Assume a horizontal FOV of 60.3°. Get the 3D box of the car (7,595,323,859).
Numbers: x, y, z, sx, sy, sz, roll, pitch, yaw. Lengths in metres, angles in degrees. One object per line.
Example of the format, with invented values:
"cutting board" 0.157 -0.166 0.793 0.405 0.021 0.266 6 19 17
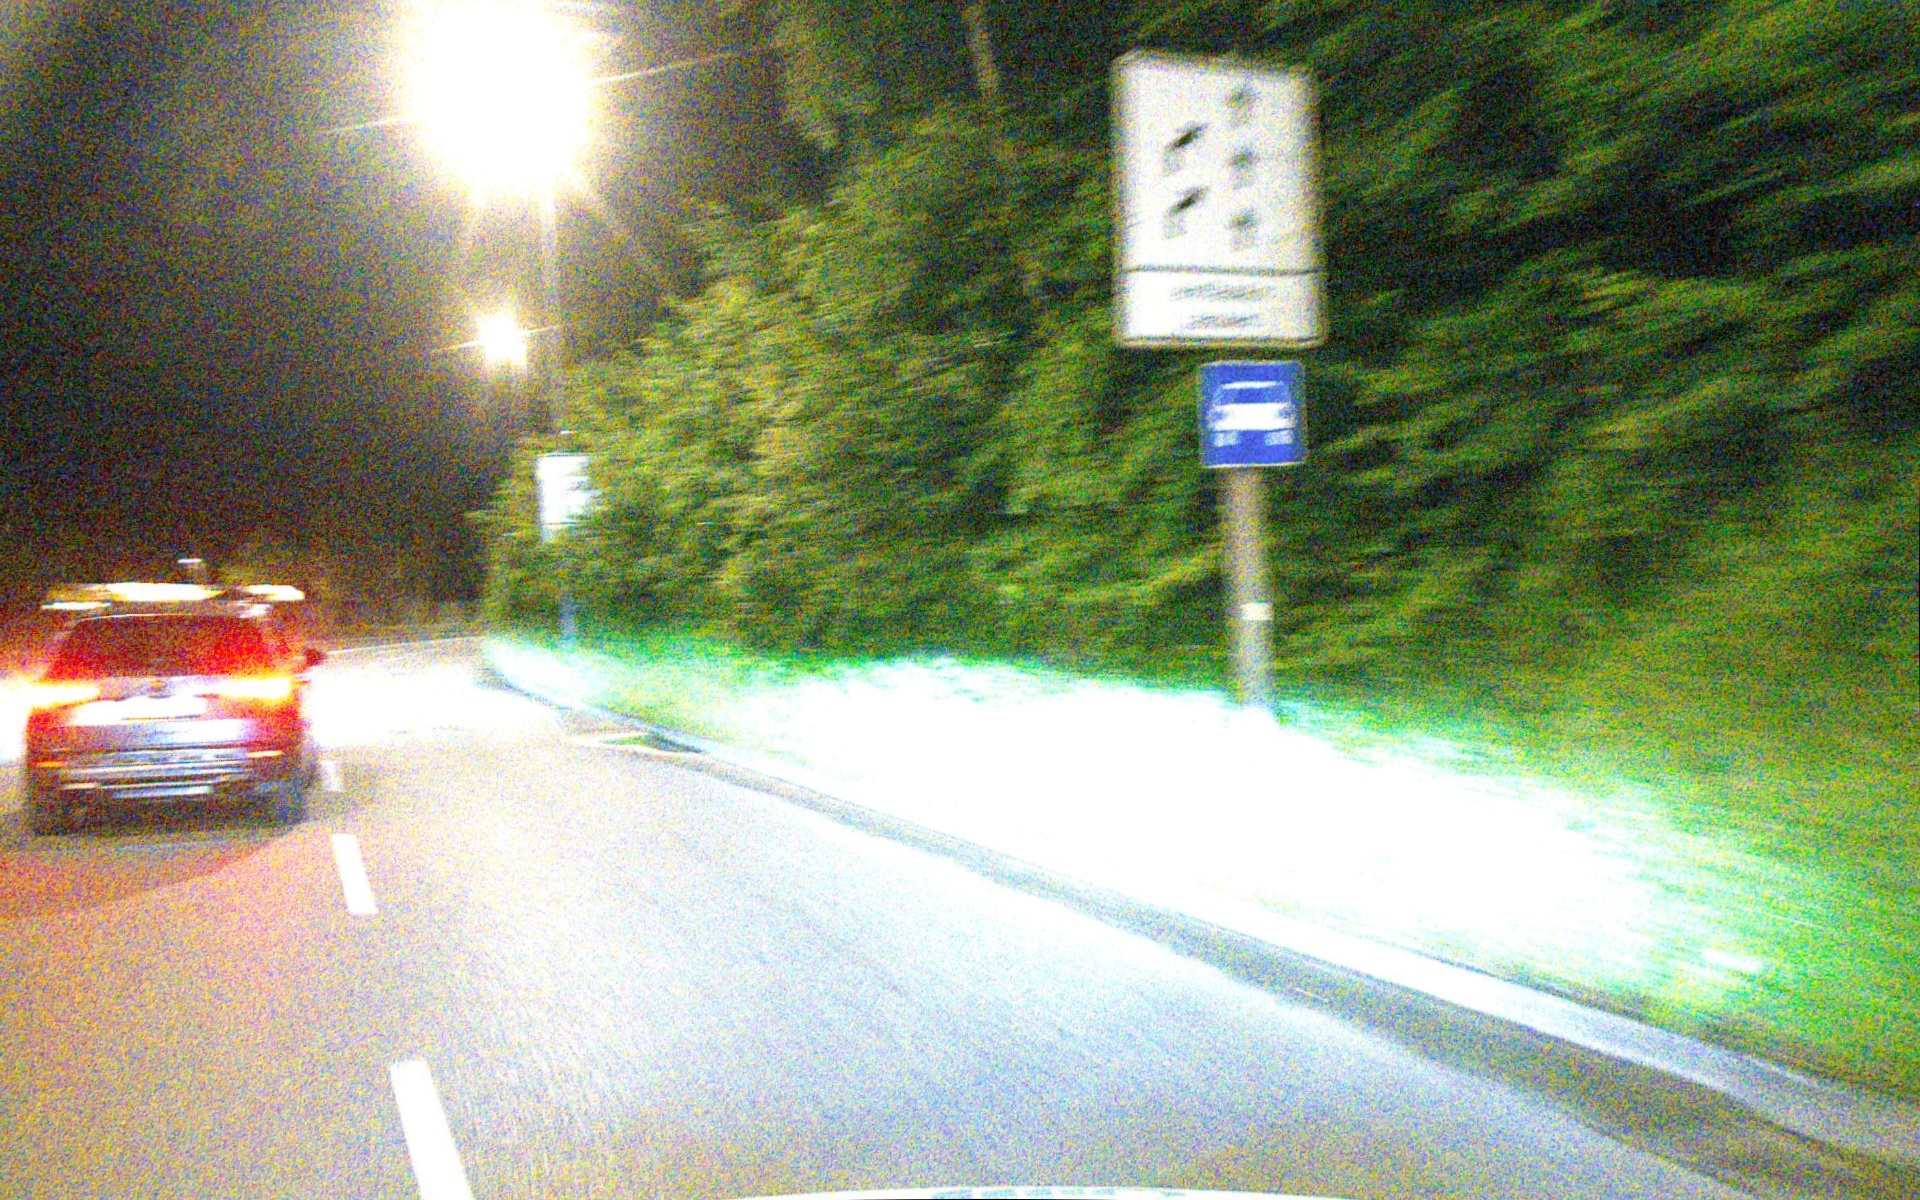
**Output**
"car" -6.025 0.807 12.641 1.829 1.610 3.974 -2 1 -26
